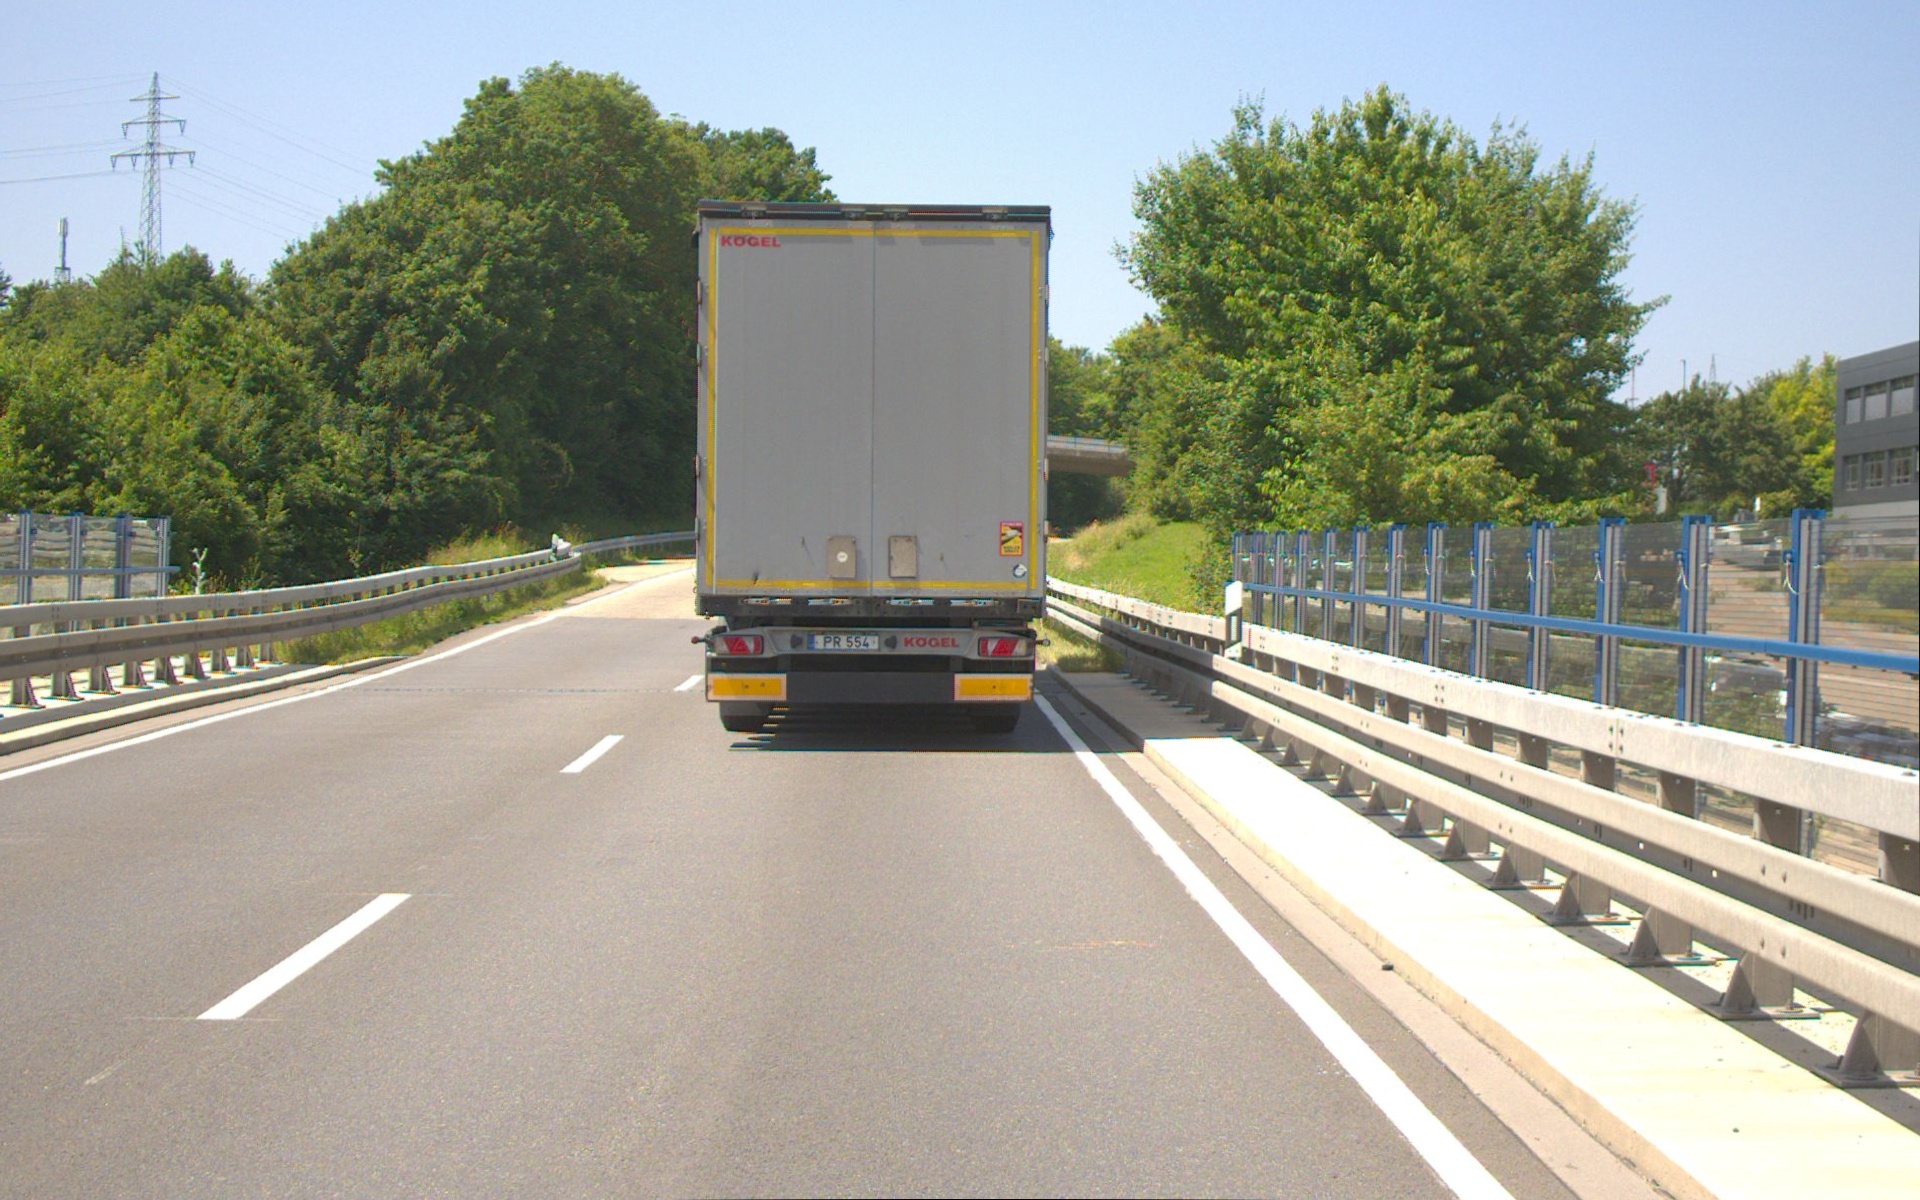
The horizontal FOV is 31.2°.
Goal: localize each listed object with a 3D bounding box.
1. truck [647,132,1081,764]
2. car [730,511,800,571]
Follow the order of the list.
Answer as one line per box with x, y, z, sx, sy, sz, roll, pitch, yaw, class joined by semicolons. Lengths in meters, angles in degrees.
-0.785;-1.246;29.331;2.866;4.344;9.790;3;2;-1;truck
-5.442;-1.661;96.451;1.865;1.605;4.373;1;1;-2;car
